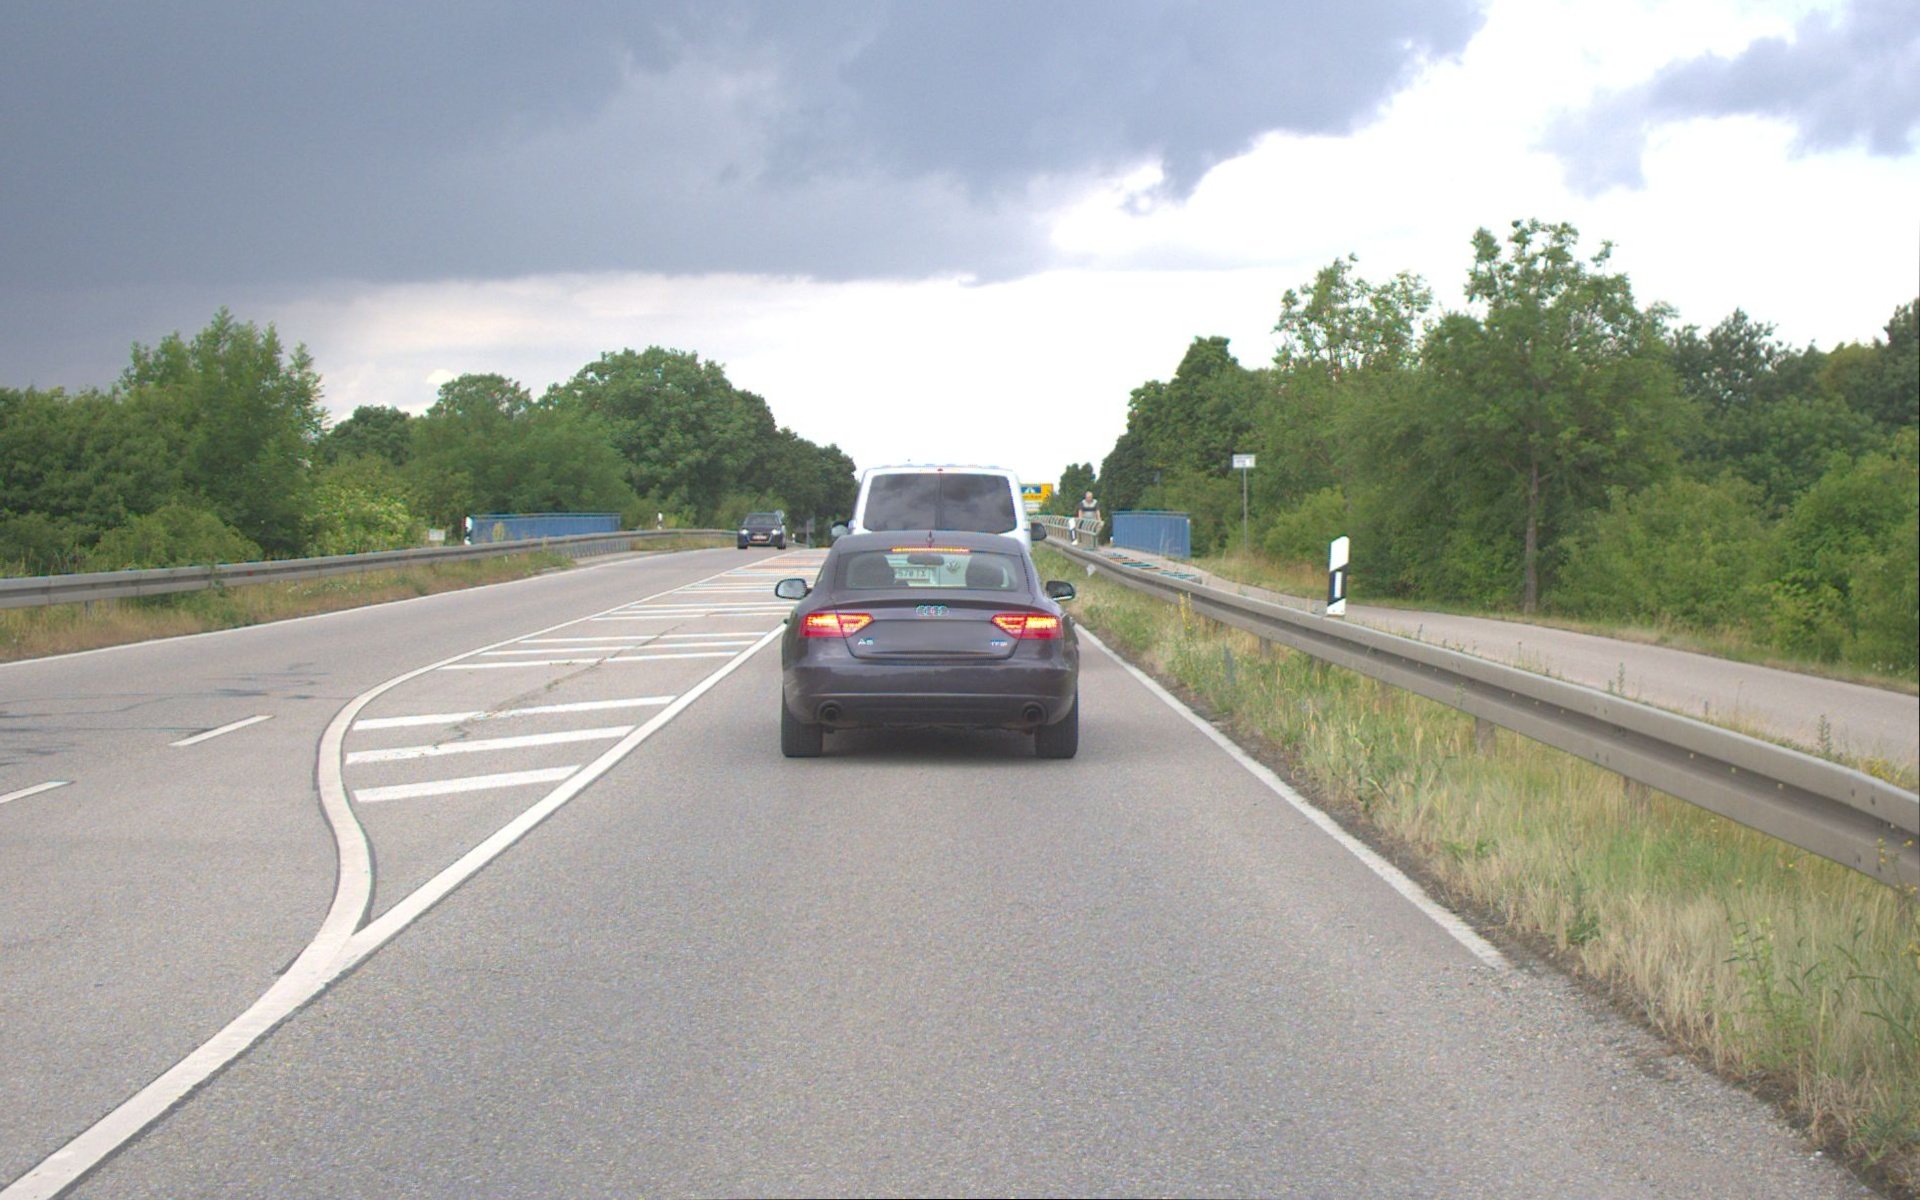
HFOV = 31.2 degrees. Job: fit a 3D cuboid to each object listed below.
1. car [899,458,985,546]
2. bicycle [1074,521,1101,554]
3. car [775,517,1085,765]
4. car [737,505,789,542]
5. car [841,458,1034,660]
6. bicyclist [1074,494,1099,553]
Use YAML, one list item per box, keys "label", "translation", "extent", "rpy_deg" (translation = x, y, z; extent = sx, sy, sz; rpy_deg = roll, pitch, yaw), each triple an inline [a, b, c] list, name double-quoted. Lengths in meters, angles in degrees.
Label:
- label: "car"
  translation: [-0.507, -2.909, 101.542]
  extent: [2.447, 2.495, 5.042]
  rpy_deg: [1, 2, 0]
- label: "bicycle"
  translation: [3.575, -1.761, 96.683]
  extent: [0.666, 0.917, 1.830]
  rpy_deg: [0, 1, 0]
- label: "car"
  translation: [-0.190, 0.204, 22.011]
  extent: [1.785, 1.419, 4.000]
  rpy_deg: [1, 1, 0]
- label: "car"
  translation: [-7.566, -2.943, 132.301]
  extent: [1.862, 1.371, 4.001]
  rpy_deg: [1, 2, -2]
- label: "car"
  translation: [-0.226, -0.425, 34.394]
  extent: [1.785, 1.883, 4.000]
  rpy_deg: [1, 1, 0]
- label: "bicyclist"
  translation: [3.566, -2.162, 96.732]
  extent: [0.647, 1.639, 0.866]
  rpy_deg: [0, 1, 0]
